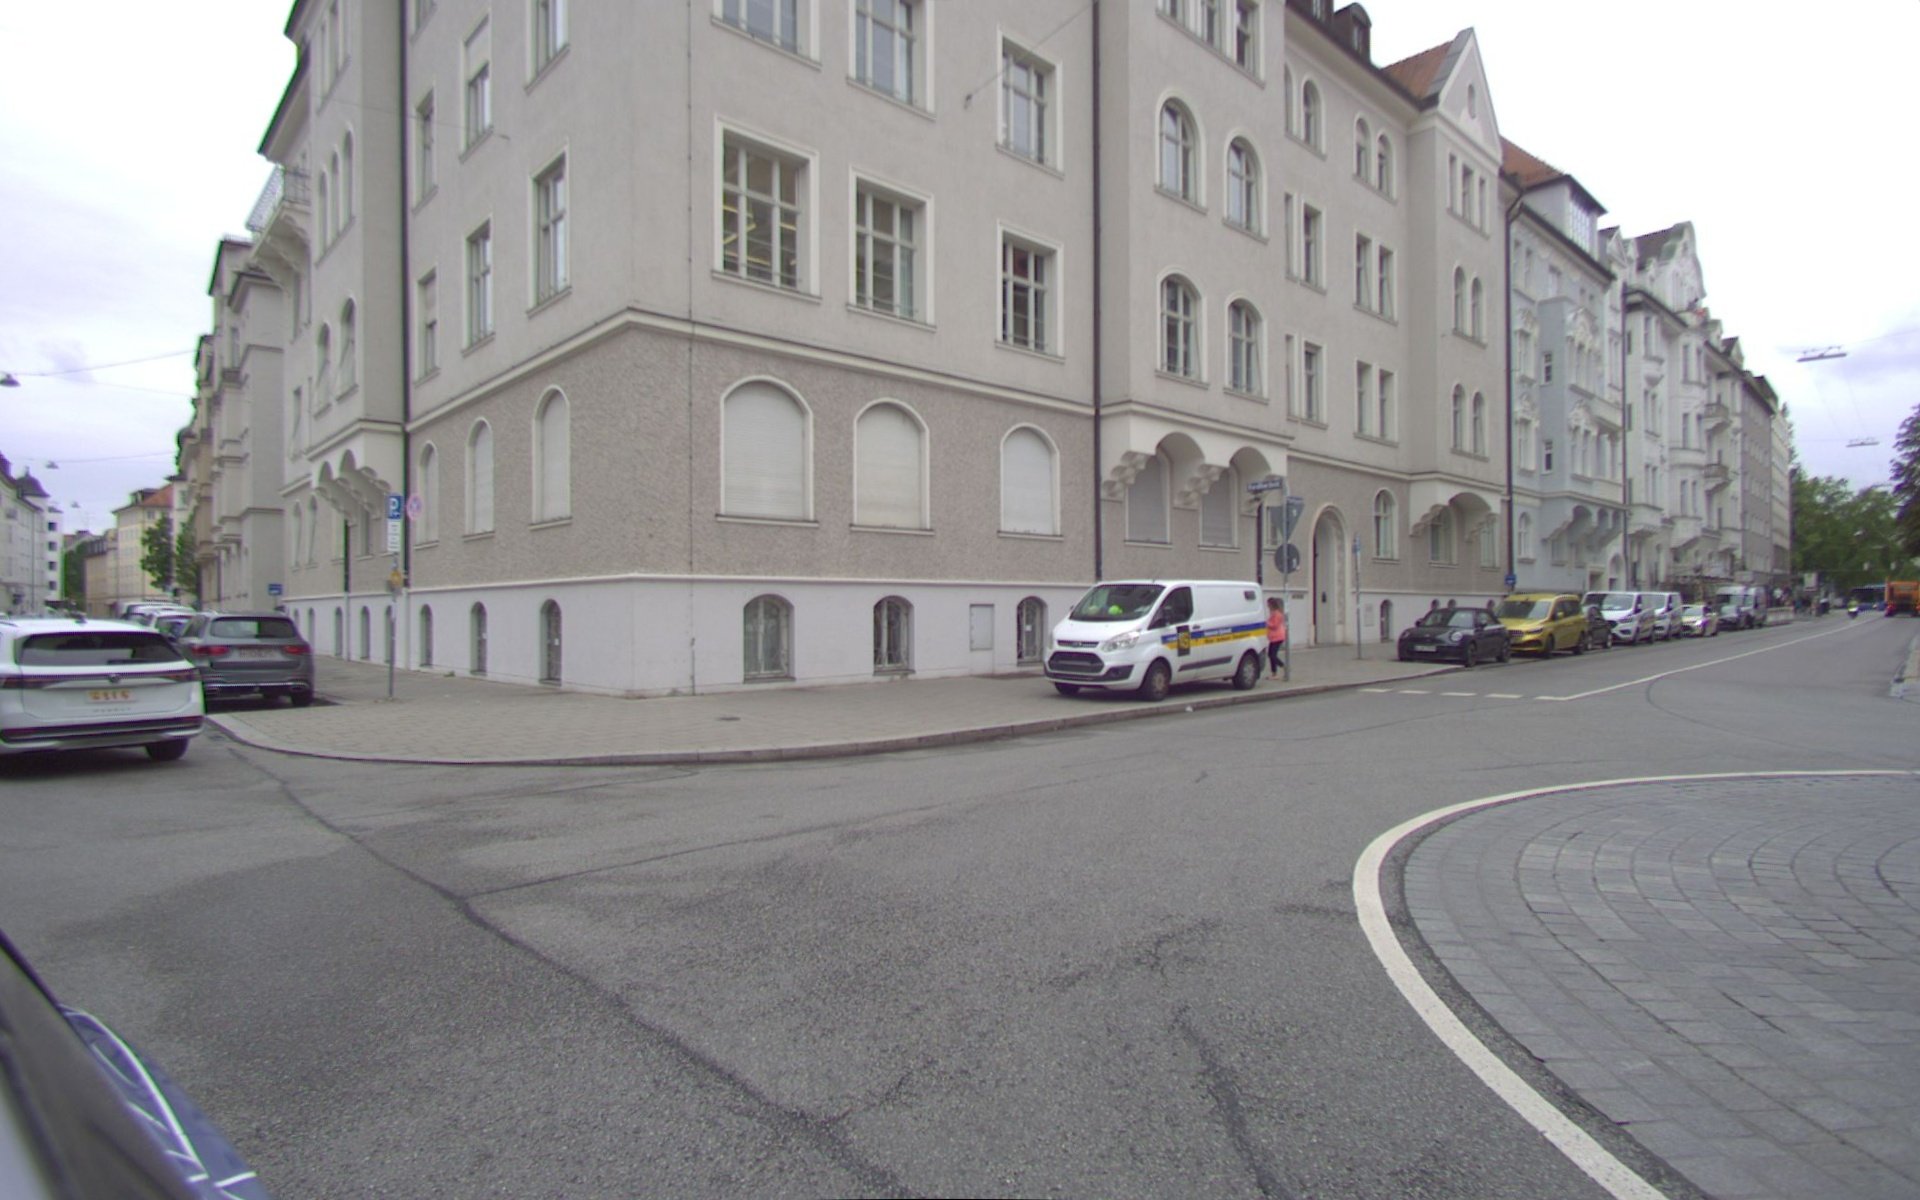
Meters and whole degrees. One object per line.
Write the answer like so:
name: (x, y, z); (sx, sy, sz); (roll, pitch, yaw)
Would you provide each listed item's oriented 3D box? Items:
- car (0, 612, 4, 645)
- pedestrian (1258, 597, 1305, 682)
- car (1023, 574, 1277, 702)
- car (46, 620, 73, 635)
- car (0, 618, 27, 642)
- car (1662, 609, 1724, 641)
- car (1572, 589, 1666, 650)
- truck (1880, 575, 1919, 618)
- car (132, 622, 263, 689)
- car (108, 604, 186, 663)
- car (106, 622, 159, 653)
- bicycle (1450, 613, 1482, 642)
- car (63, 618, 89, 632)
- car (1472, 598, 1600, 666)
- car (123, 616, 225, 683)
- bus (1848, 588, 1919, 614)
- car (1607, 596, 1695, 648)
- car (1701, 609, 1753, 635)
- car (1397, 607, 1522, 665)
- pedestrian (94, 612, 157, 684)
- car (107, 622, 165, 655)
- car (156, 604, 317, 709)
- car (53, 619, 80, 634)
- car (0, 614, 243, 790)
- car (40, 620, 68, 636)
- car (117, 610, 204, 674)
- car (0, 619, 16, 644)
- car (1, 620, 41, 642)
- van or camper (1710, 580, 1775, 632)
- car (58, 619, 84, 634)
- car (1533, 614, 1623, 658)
car: (-59.195, 1.807, 61.076); (1.970, 1.975, 4.439); (-4, 1, -42)
pedestrian: (6.439, 0.777, 20.240); (0.850, 1.648, 0.728); (-1, -1, 22)
car: (3.393, 0.583, 17.399); (1.926, 1.895, 4.839); (-1, -1, 45)
car: (-104.734, 3.165, 117.698); (1.968, 1.606, 4.307); (-4, 1, -38)
car: (-68.707, 2.205, 72.888); (1.969, 1.606, 4.305); (-4, 1, -41)
car: (32.850, 1.117, 45.315); (3.486, 1.356, 1.698); (1, -2, -44)
car: (24.358, 0.704, 37.326); (2.125, 2.108, 4.754); (-1, -1, 43)
truck: (83.699, -0.233, 89.245); (8.601, 3.650, 3.194); (0, -1, -44)
car: (-17.700, 1.227, 23.448); (3.661, 1.425, 1.674); (-1, -2, 41)
car: (-28.839, 1.175, 35.855); (1.833, 1.953, 4.963); (2, -2, -42)
car: (-40.904, 1.819, 50.017); (1.833, 1.474, 4.385); (2, -2, -41)
bicycle: (19.105, 1.029, 38.189); (1.803, 1.057, 0.492); (0, -1, -43)
car: (-113.775, 3.236, 130.302); (1.967, 1.606, 4.309); (-4, 1, -35)
car: (16.763, 0.900, 29.381); (4.072, 1.852, 2.030); (1, -1, -42)
car: (-20.910, 1.264, 26.867); (1.726, 1.614, 4.501); (2, -2, -43)
bus: (111.045, 0.110, 117.614); (14.326, 2.921, 2.726); (-1, -1, -7)
car: (28.508, 0.907, 41.697); (2.126, 2.009, 4.751); (-1, -2, 45)
car: (41.420, 1.177, 54.609); (3.486, 1.356, 1.699); (1, -1, -44)
car: (12.779, 0.882, 25.820); (3.624, 1.356, 1.699); (1, -1, -44)
pedestrian: (-21.025, 1.201, 25.516); (0.862, 1.769, 0.966); (0, -1, -10)
car: (-37.620, 1.754, 46.159); (1.833, 1.423, 4.385); (3, -3, -41)
car: (-12.810, 0.917, 17.806); (1.726, 1.614, 4.501); (2, -2, -43)
car: (-107.659, 3.212, 121.956); (1.968, 1.695, 4.308); (-4, 1, -37)
car: (-9.669, 0.898, 10.548); (4.875, 1.459, 1.870); (-1, -1, 32)
car: (-98.658, 3.039, 110.245); (1.968, 1.606, 4.307); (-4, 1, -38)
car: (-24.734, 1.255, 31.245); (1.725, 1.802, 5.043); (2, -2, -42)
car: (-65.749, 2.198, 68.886); (1.969, 1.665, 4.454); (-4, 1, -41)
car: (-76.410, 2.505, 82.386); (1.968, 1.606, 4.307); (-4, 1, -38)
van or camper: (46.239, 0.344, 59.742); (6.339, 2.935, 2.002); (0, 0, -43)
car: (-110.948, 3.301, 126.301); (1.968, 1.606, 4.437); (-4, 1, -37)
car: (20.194, 1.135, 33.028); (3.486, 1.356, 1.698); (1, -2, -44)
